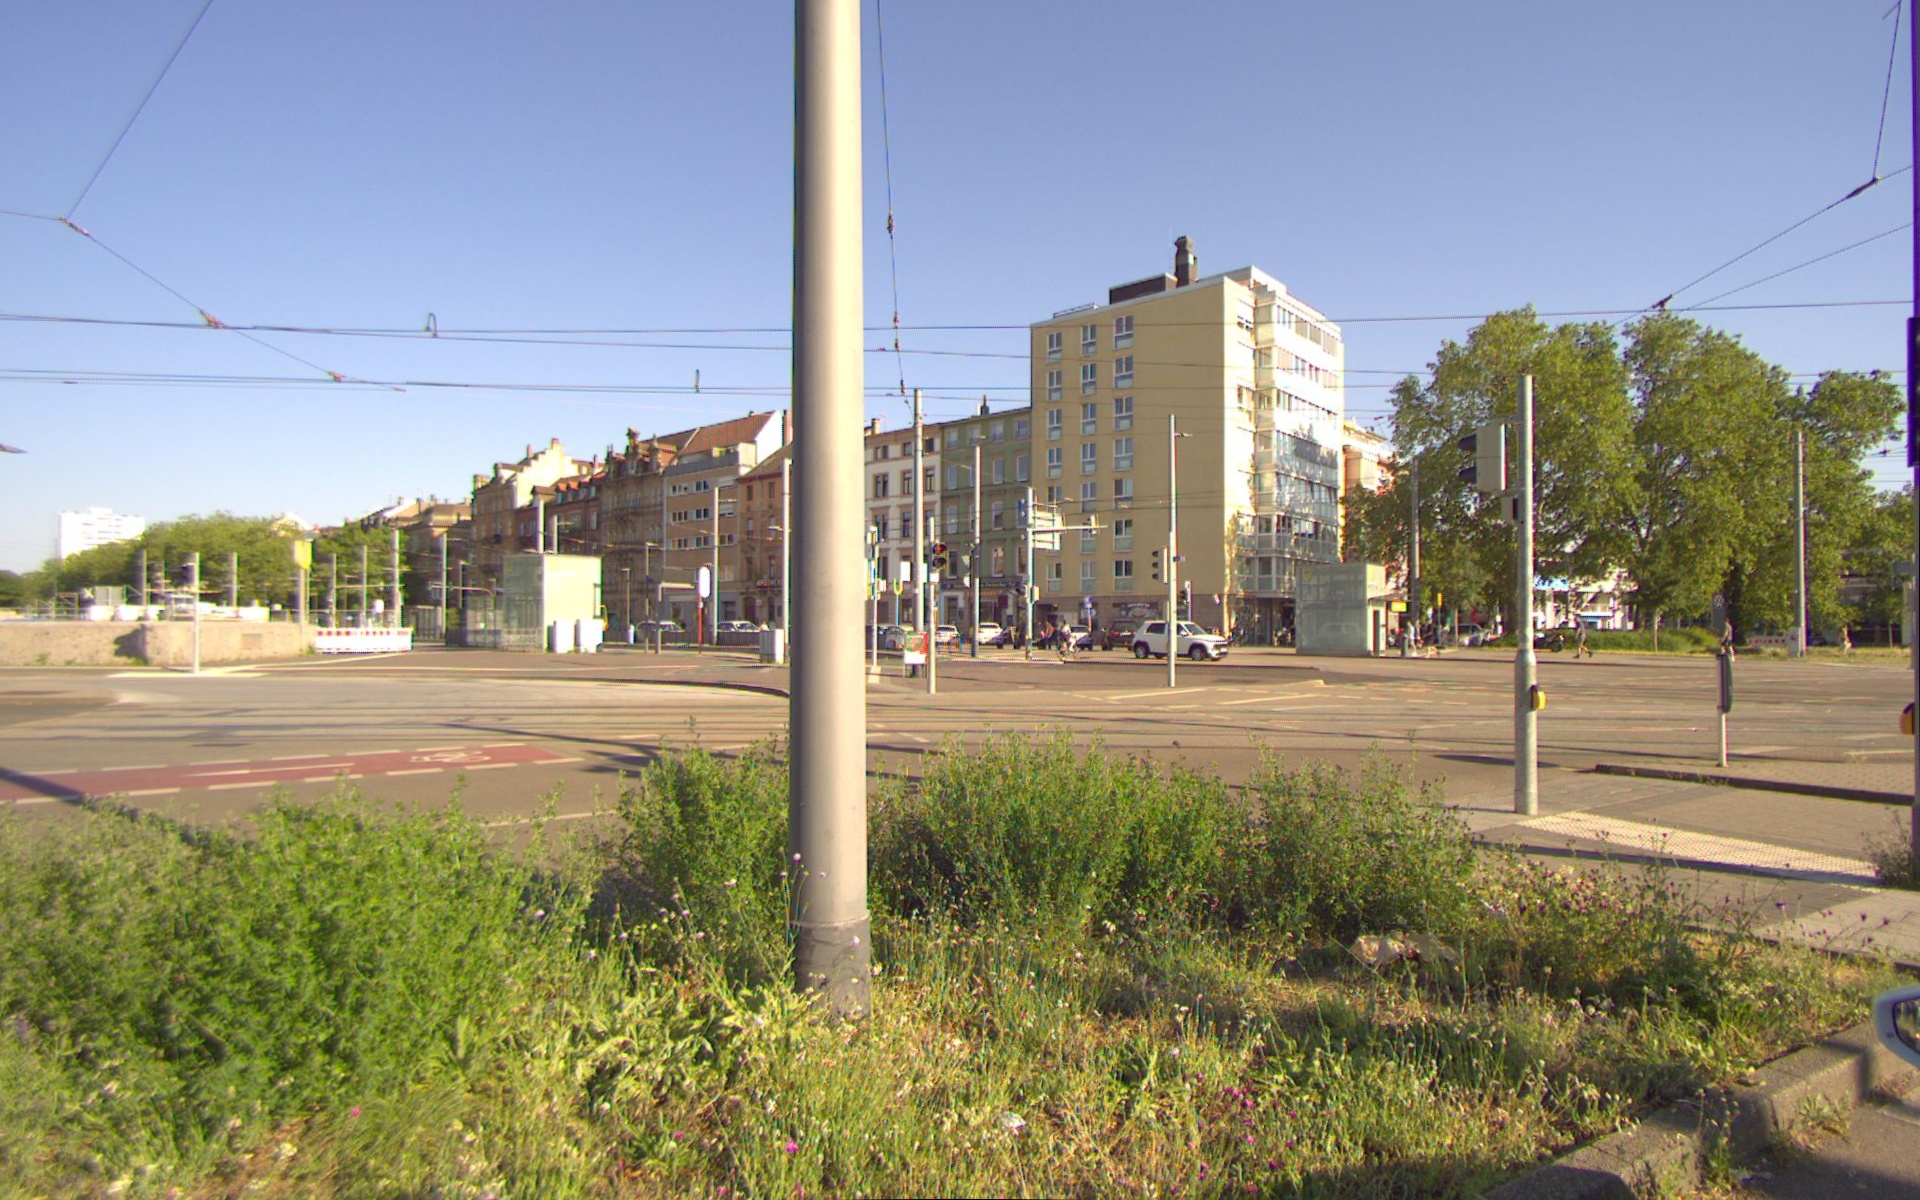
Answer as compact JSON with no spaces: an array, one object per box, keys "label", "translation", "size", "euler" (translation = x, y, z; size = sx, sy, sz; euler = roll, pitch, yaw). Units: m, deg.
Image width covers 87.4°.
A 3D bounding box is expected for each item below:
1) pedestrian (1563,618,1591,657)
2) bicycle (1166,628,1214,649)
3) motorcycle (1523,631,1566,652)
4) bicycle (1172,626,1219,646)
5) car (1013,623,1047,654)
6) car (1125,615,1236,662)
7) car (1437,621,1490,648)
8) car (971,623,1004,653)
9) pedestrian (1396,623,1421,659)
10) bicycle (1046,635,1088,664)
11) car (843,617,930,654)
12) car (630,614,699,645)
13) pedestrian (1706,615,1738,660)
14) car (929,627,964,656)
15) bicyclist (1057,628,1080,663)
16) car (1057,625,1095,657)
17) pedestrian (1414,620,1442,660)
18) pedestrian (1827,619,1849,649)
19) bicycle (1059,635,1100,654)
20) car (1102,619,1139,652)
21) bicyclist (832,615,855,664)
[{"label":"pedestrian","translation":[28.119,1.715,45.780],"size":[0.747,1.728,0.793],"euler":[2,0,-22]},{"label":"bicycle","translation":[14.433,2.432,63.198],"size":[3.003,1.167,0.637],"euler":[1,0,44]},{"label":"motorcycle","translation":[29.134,2.059,50.108],"size":[1.753,0.926,0.676],"euler":[2,0,41]},{"label":"bicycle","translation":[14.937,2.266,63.724],"size":[3.003,1.167,0.637],"euler":[1,0,44]},{"label":"car","translation":[4.254,2.319,61.524],"size":[1.960,1.728,4.001],"euler":[2,0,4]},{"label":"car","translation":[8.803,1.514,40.233],"size":[3.940,1.684,1.778],"euler":[2,0,41]},{"label":"car","translation":[31.997,2.205,63.809],"size":[3.973,1.588,1.753],"euler":[2,0,-44]},{"label":"car","translation":[1.778,2.398,63.912],"size":[1.960,1.728,4.001],"euler":[2,0,4]},{"label":"pedestrian","translation":[22.097,2.020,49.494],"size":[0.747,1.728,0.793],"euler":[2,0,-22]},{"label":"bicycle","translation":[4.325,1.985,40.549],"size":[0.617,1.104,1.914],"euler":[2,0,44]},{"label":"car","translation":[-3.804,1.799,51.348],"size":[4.654,1.684,1.776],"euler":[1,0,43]},{"label":"car","translation":[-19.246,1.894,65.272],"size":[4.837,1.849,1.990],"euler":[2,0,41]},{"label":"pedestrian","translation":[33.565,1.654,44.251],"size":[0.747,1.911,0.793],"euler":[2,0,-22]},{"label":"car","translation":[-0.862,2.689,66.378],"size":[1.960,1.728,4.001],"euler":[2,0,4]},{"label":"bicyclist","translation":[4.397,1.843,40.621],"size":[0.617,1.368,0.658],"euler":[2,0,44]},{"label":"car","translation":[6.808,2.380,59.212],"size":[1.960,1.728,4.001],"euler":[2,0,4]},{"label":"pedestrian","translation":[20.626,1.776,44.293],"size":[0.747,1.728,0.793],"euler":[2,0,-22]},{"label":"pedestrian","translation":[51.378,1.978,58.771],"size":[0.491,1.716,0.852],"euler":[2,0,-32]},{"label":"bicycle","translation":[8.205,3.052,69.104],"size":[3.003,1.167,0.637],"euler":[1,0,44]},{"label":"car","translation":[9.125,2.008,57.470],"size":[1.684,1.728,4.001],"euler":[2,0,4]},{"label":"bicyclist","translation":[-4.225,1.426,36.501],"size":[0.653,1.706,0.980],"euler":[2,0,2]}]
